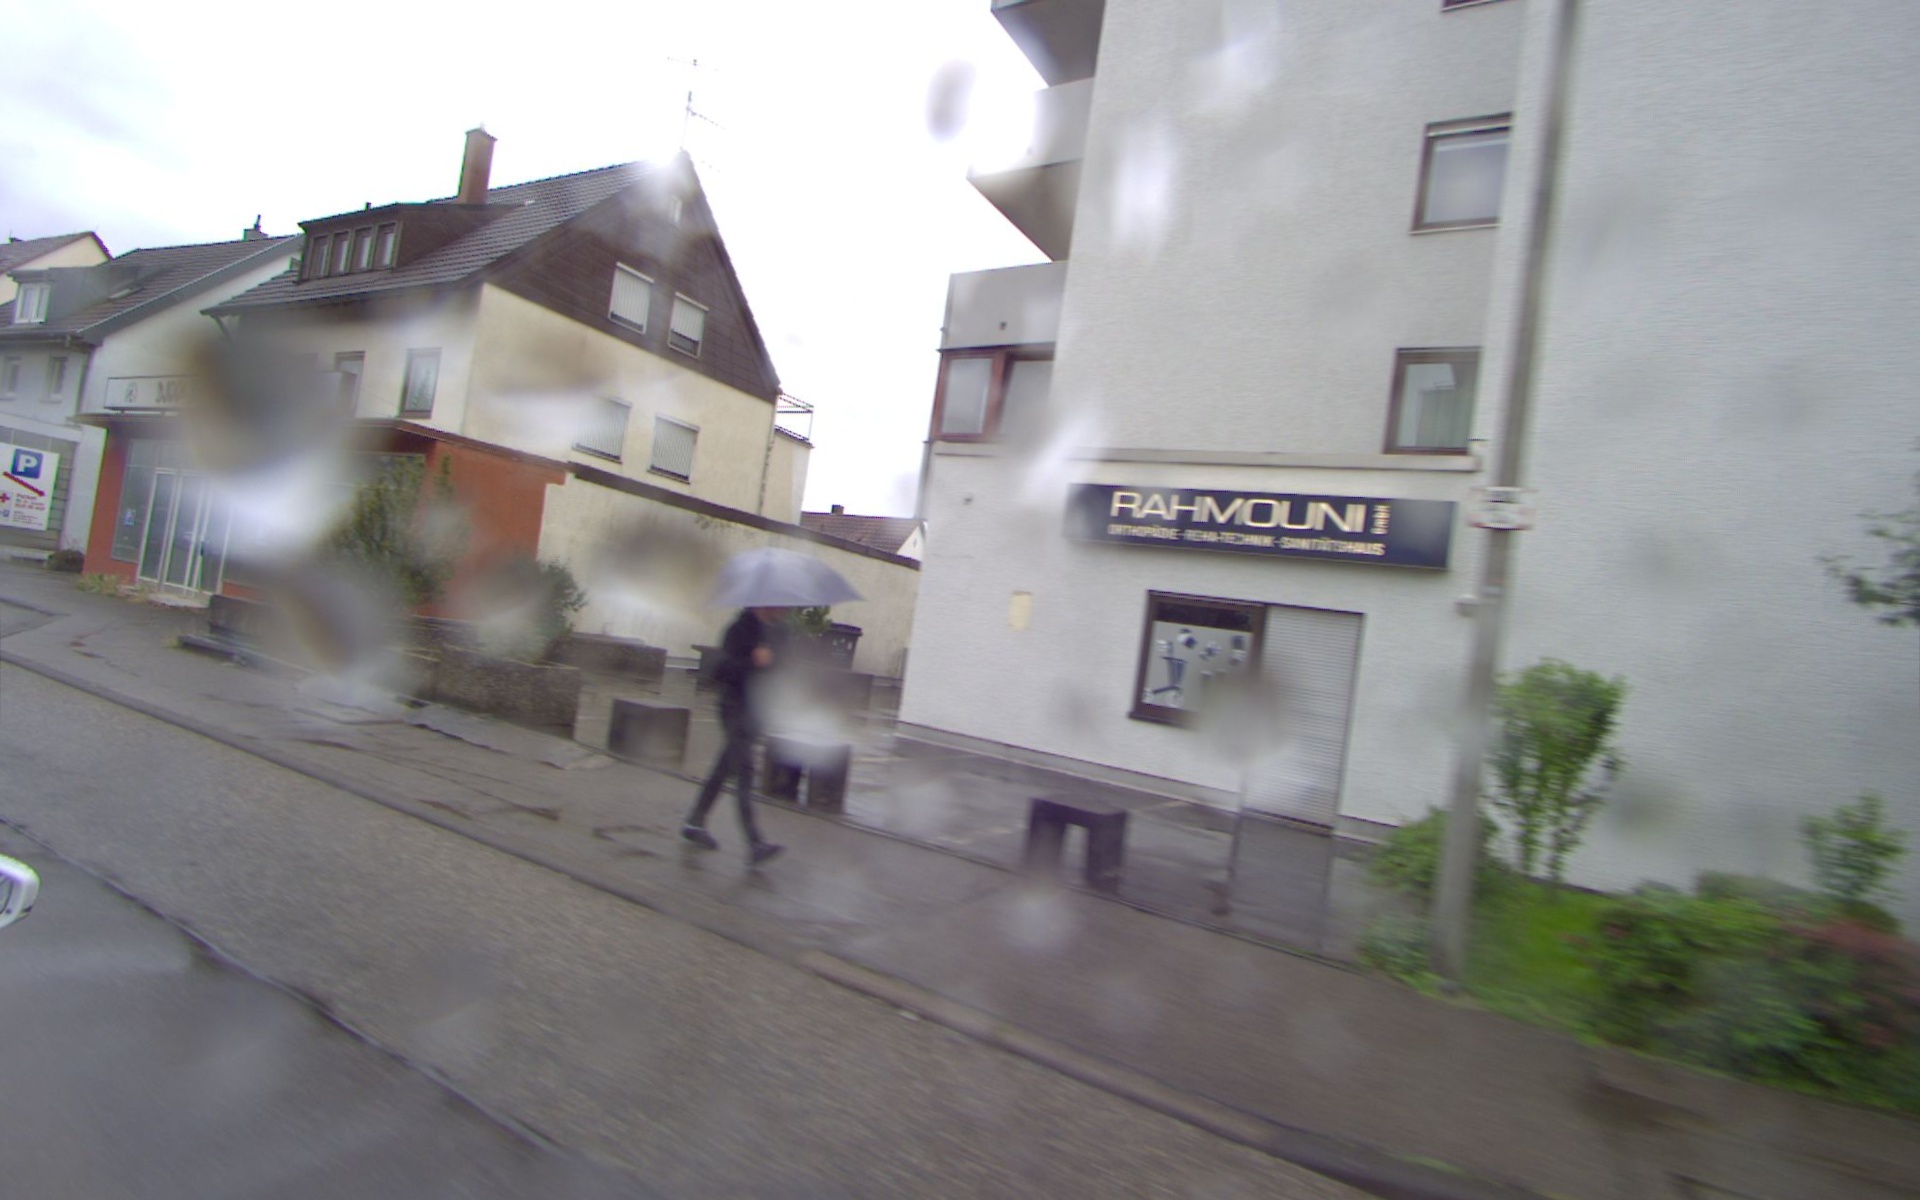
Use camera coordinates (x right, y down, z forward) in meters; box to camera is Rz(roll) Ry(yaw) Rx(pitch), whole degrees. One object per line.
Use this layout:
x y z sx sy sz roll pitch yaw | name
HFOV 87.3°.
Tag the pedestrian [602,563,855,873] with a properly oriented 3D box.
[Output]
-1.345 0.665 5.887 0.977 1.584 0.754 6 -5 34 | pedestrian
